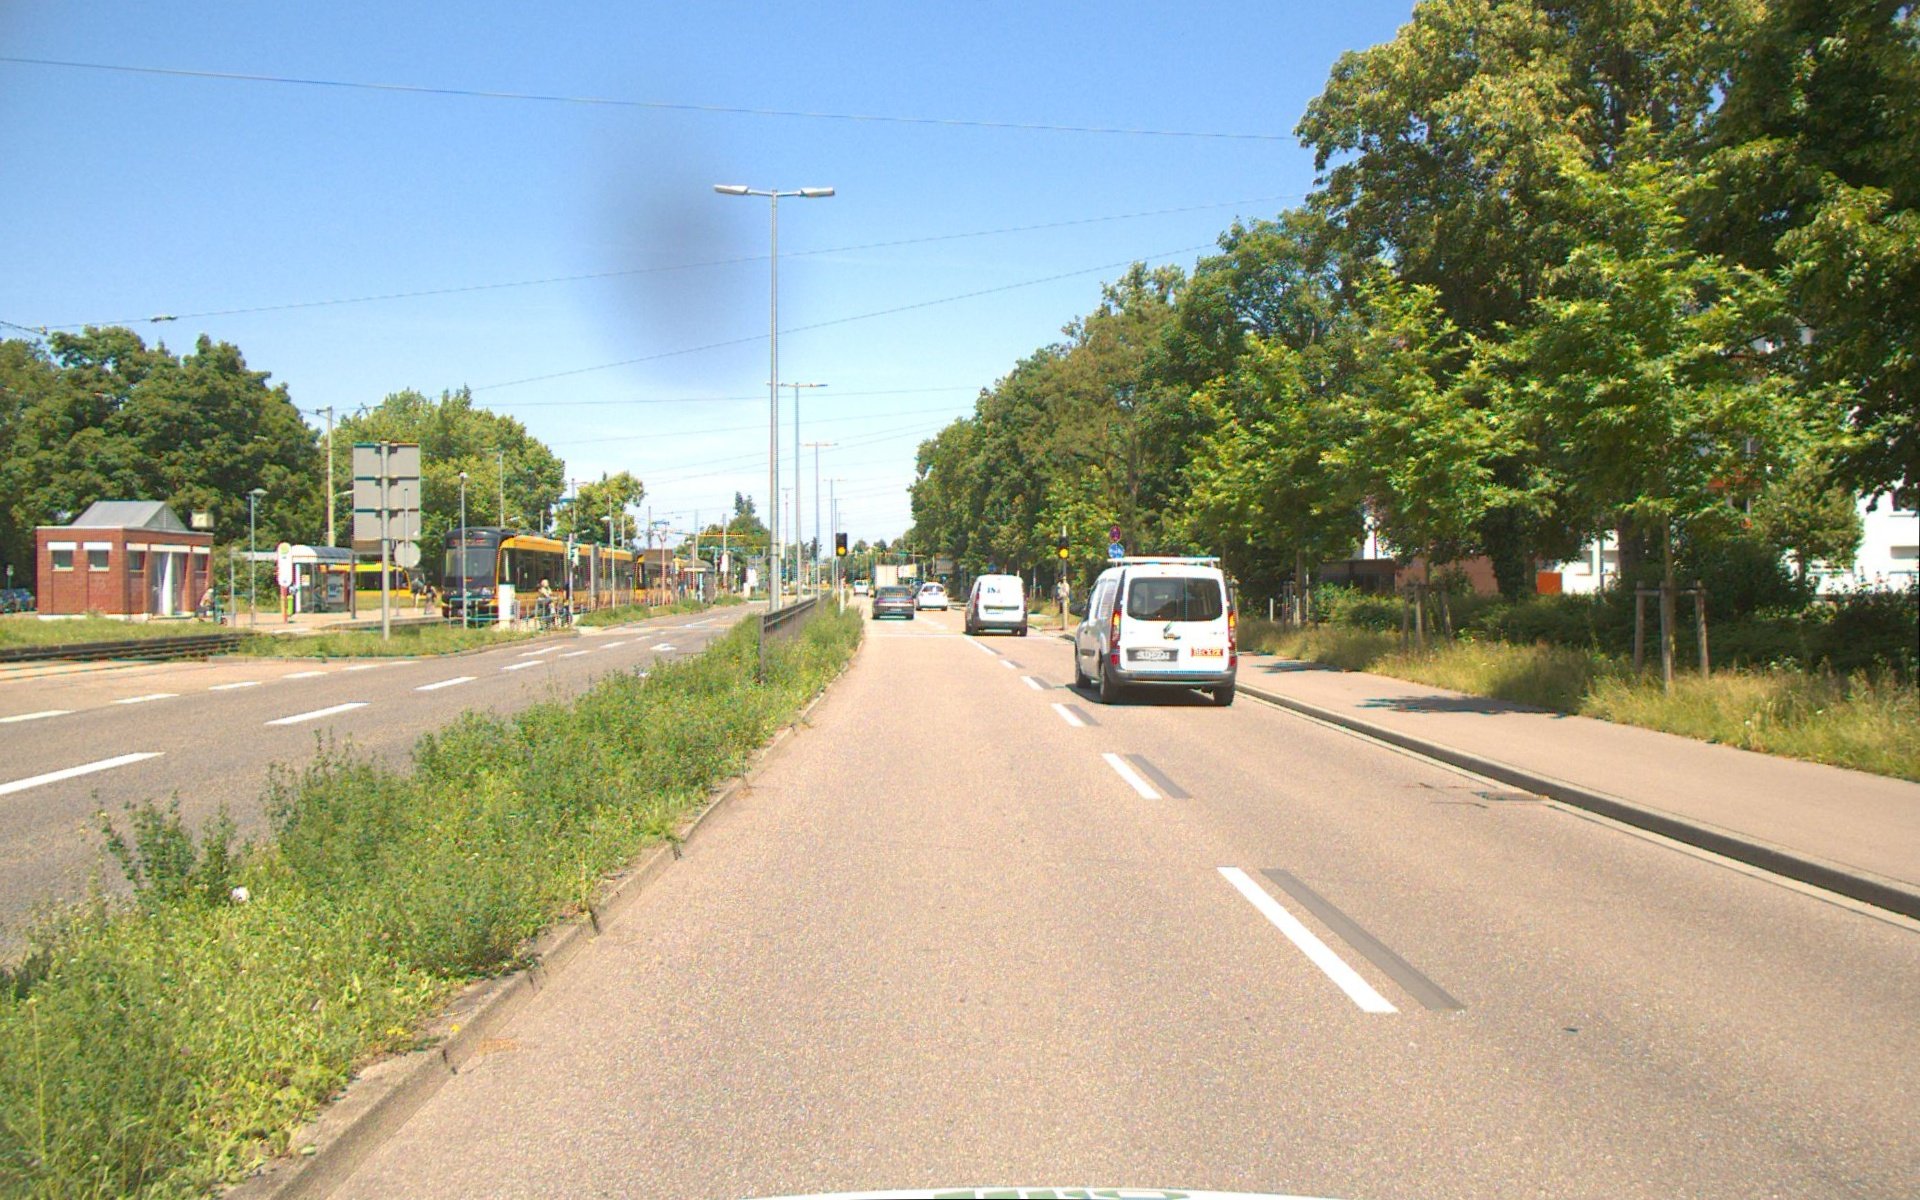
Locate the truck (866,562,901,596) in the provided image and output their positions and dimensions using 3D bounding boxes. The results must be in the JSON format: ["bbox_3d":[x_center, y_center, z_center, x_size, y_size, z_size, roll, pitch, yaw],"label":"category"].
[{"bbox_3d":[-9.006,-2.410,194.006,3.822,3.879,10.784,0,1,-4],"label":"truck"}]

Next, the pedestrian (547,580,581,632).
[{"bbox_3d":[-13.881,0.199,57.953,0.939,1.828,0.705,0,0,25],"label":"pedestrian"}]

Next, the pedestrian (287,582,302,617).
[{"bbox_3d":[-28.010,-0.036,69.633,0.452,1.461,0.524,0,0,-6],"label":"pedestrian"}]

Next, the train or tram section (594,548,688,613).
[{"bbox_3d":[-20.539,-1.209,108.430,2.732,3.732,25.980,0,0,-4],"label":"train or tram section"}]

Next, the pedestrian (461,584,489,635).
[{"bbox_3d":[-15.071,0.292,51.426,0.533,1.568,0.856,0,0,-40],"label":"pedestrian"}]

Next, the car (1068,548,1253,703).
[{"bbox_3d":[2.663,0.302,22.921,1.788,1.914,4.453,1,0,-3],"label":"car"}]

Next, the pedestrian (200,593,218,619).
[{"bbox_3d":[-29.872,0.225,65.803,0.472,1.036,0.522,0,0,-2],"label":"pedestrian"}]

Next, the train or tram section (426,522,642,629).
[{"bbox_3d":[-18.526,-0.987,76.738,2.732,3.732,37.490,0,0,-4],"label":"train or tram section"}]

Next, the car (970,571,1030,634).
[{"bbox_3d":[1.194,0.049,50.884,1.692,1.845,4.000,1,1,0],"label":"car"}]

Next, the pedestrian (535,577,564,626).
[{"bbox_3d":[-13.975,0.053,56.282,0.802,1.657,0.705,0,0,2],"label":"pedestrian"}]

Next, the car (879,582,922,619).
[{"bbox_3d":[-2.591,-0.005,70.974,1.766,1.512,3.998,0,1,-3],"label":"car"}]

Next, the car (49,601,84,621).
[{"bbox_3d":[-70.958,0.860,131.404,1.965,1.493,3.976,0,0,-21],"label":"car"}]

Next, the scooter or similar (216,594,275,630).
[{"bbox_3d":[-23.018,0.368,53.310,0.601,1.146,1.664,0,0,40],"label":"scooter or similar"}]

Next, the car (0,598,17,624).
[{"bbox_3d":[-56.968,0.637,97.269,1.965,1.493,3.976,0,0,-21],"label":"car"}]

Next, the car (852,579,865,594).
[{"bbox_3d":[-12.852,-1.679,209.840,1.654,1.930,3.867,0,0,-4],"label":"car"}]

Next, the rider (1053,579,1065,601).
[{"bbox_3d":[5.841,-0.584,97.940,0.664,1.304,0.533,0,0,-4],"label":"rider"}]

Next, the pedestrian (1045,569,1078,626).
[{"bbox_3d":[3.369,-0.083,54.997,1.024,1.882,0.758,1,0,8],"label":"pedestrian"}]

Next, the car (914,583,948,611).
[{"bbox_3d":[-1.675,-0.191,94.526,1.768,1.566,3.997,0,0,-4],"label":"car"}]

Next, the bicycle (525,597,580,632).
[{"bbox_3d":[-13.868,0.481,56.261,1.824,1.177,0.242,0,0,1],"label":"bicycle"}]

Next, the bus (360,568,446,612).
[{"bbox_3d":[-47.297,-0.847,140.350,7.378,3.629,2.000,0,0,21],"label":"bus"}]
